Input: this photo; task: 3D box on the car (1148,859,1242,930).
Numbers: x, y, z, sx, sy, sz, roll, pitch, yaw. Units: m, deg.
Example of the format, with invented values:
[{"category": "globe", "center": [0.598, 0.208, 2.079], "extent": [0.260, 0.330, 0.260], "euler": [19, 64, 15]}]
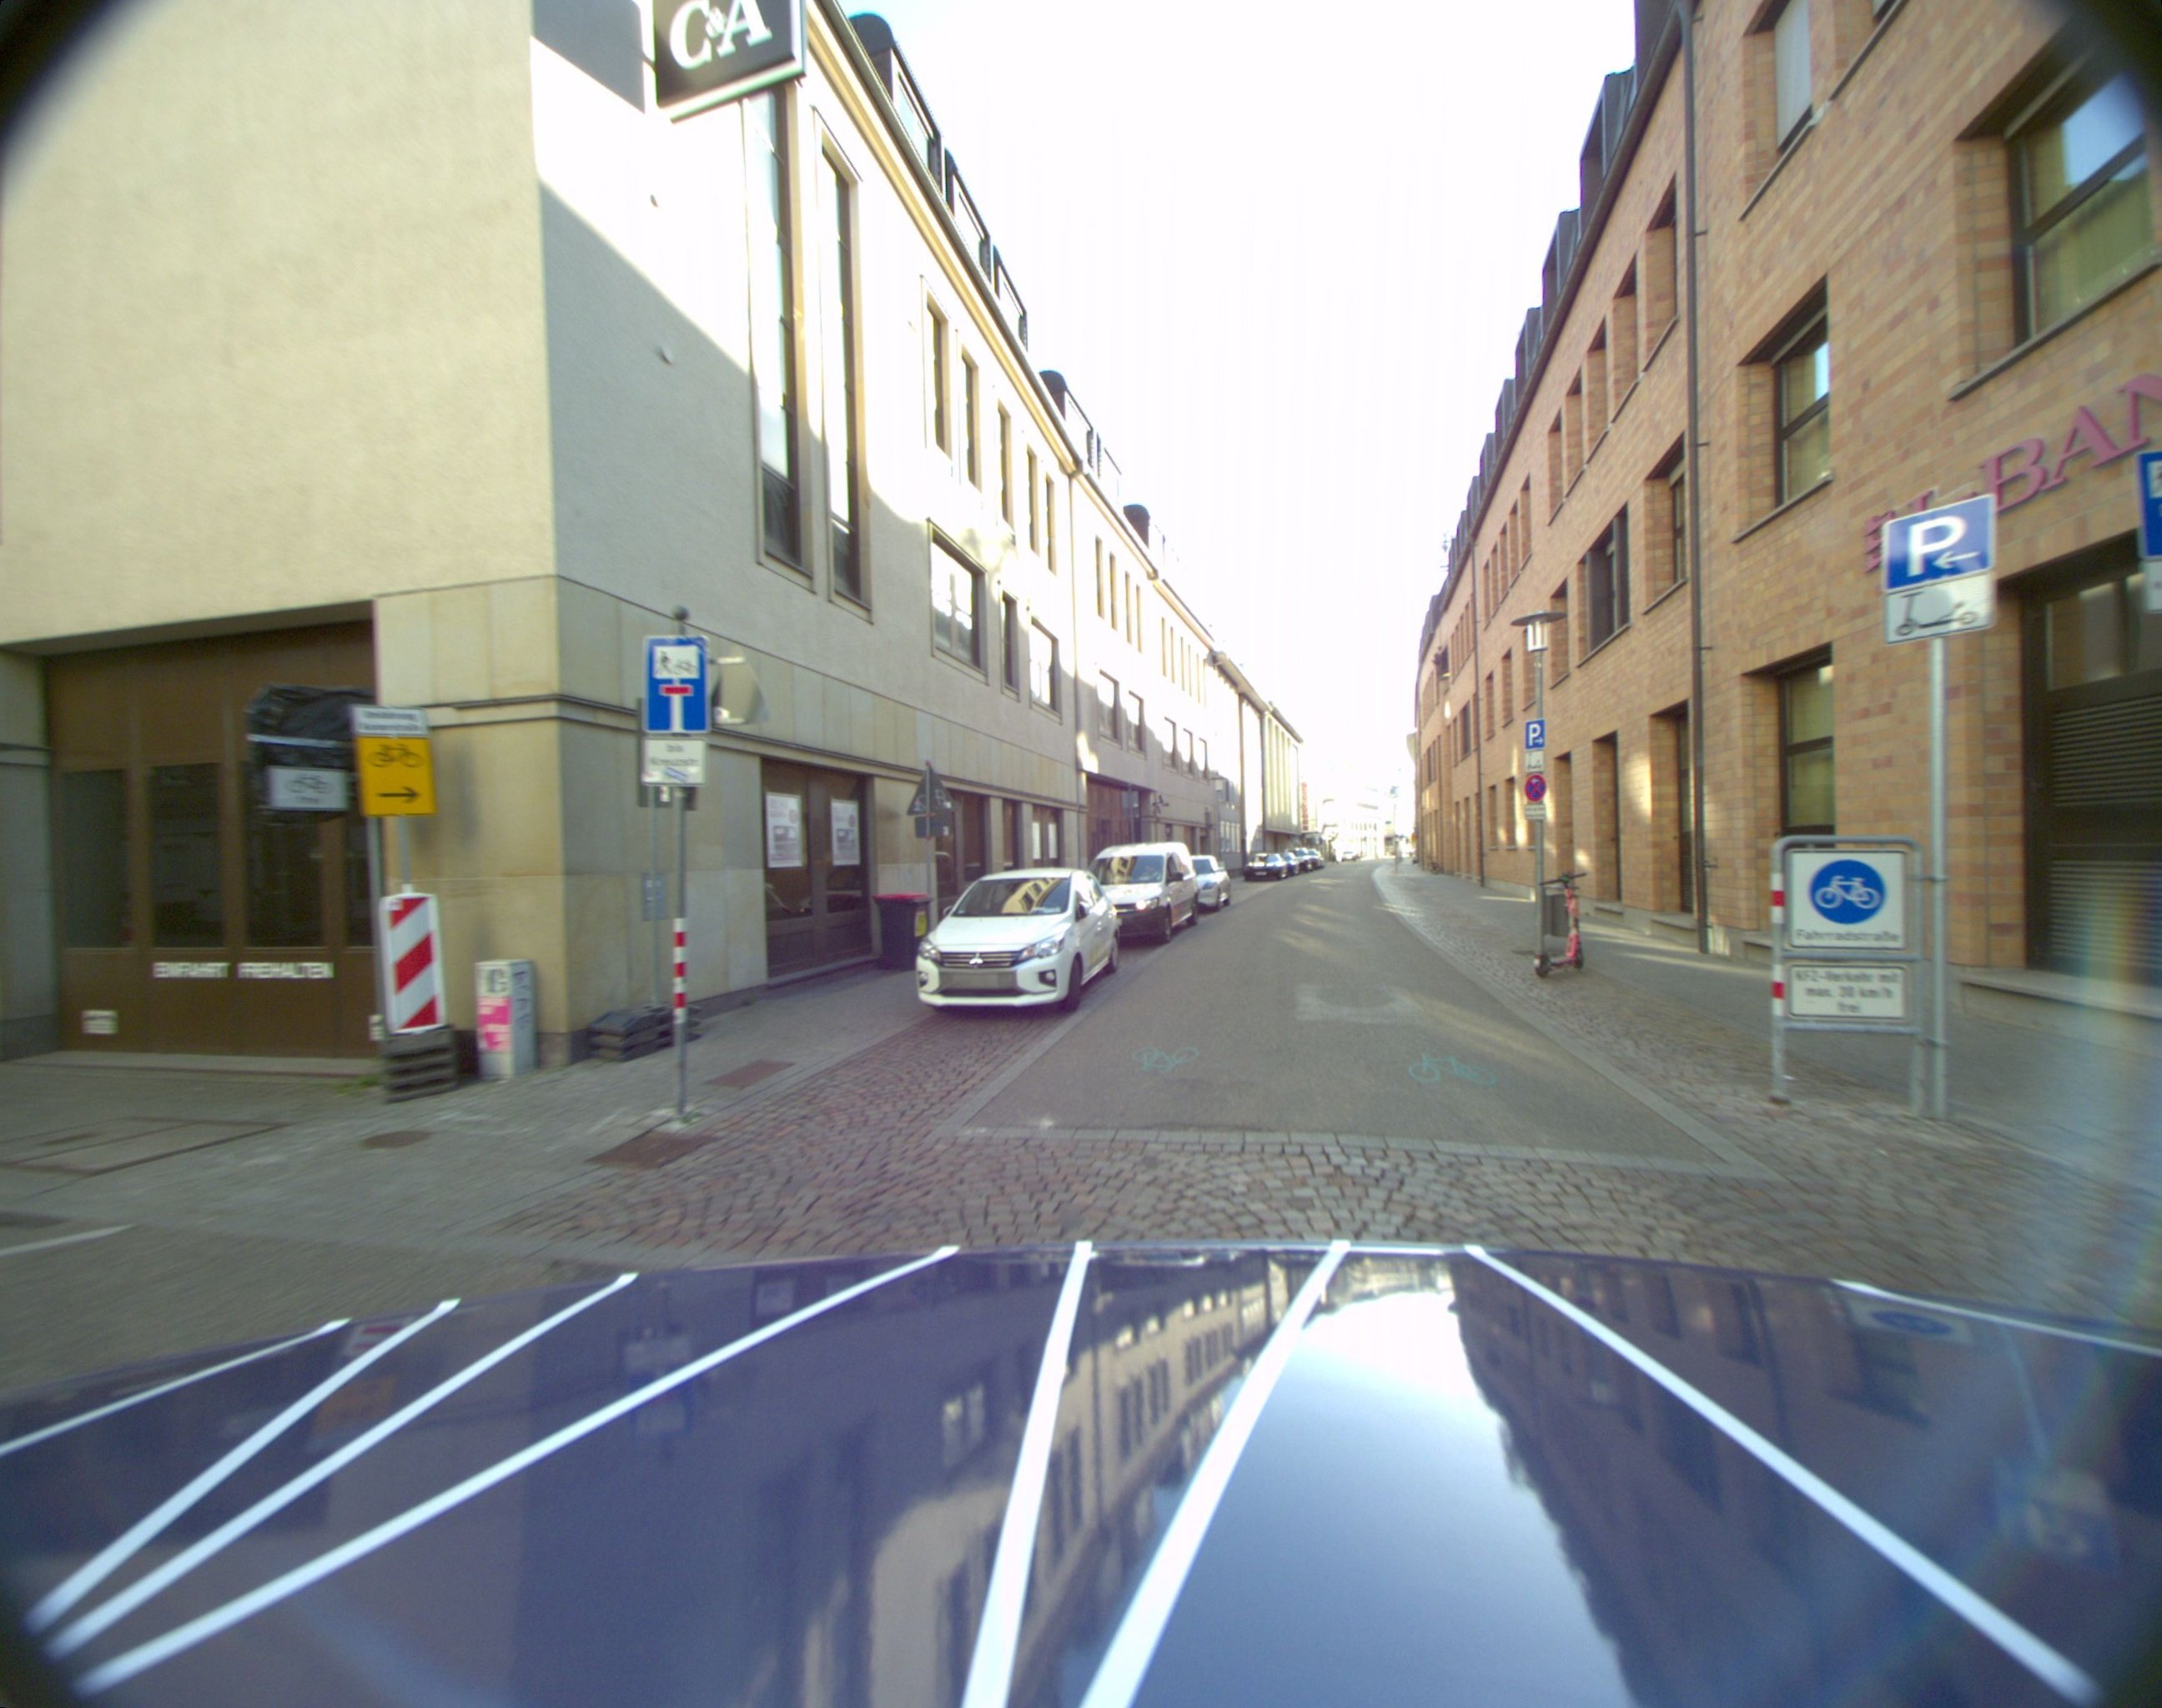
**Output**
[{"category": "car", "center": [3.222, 1.034, 20.856], "extent": [1.774, 1.574, 3.861], "euler": [-6, -1, 18]}]

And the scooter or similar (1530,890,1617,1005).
[{"category": "scooter or similar", "center": [5.819, 1.059, 8.952], "extent": [1.302, 1.217, 0.467], "euler": [0, 0, -38]}]

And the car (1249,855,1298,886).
[{"category": "car", "center": [10.256, 0.853, 40.317], "extent": [1.962, 1.399, 4.202], "euler": [-3, 0, 21]}]

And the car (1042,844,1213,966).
[{"category": "car", "center": [1.159, 0.838, 14.951], "extent": [1.945, 1.850, 5.201], "euler": [-6, -1, 18]}]

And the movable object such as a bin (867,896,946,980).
[{"category": "movable object such as a bin", "center": [-2.462, 1.169, 10.794], "extent": [0.687, 1.079, 0.930], "euler": [-3, 0, 14]}]

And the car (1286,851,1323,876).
[{"category": "car", "center": [15.284, 0.606, 51.856], "extent": [1.962, 1.527, 4.202], "euler": [-3, 0, 21]}]

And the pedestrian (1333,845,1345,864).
[{"category": "pedestrian", "center": [27.648, 0.085, 81.413], "extent": [0.944, 2.002, 0.900], "euler": [-2, 0, 1]}]

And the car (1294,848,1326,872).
[{"category": "car", "center": [17.737, 0.460, 58.798], "extent": [1.962, 1.636, 4.202], "euler": [-3, 0, 21]}]

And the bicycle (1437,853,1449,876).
[{"category": "bicycle", "center": [18.885, 0.536, 39.656], "extent": [0.431, 1.137, 1.692], "euler": [-2, 0, 23]}]

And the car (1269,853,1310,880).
[{"category": "car", "center": [12.750, 0.751, 46.312], "extent": [1.962, 1.399, 4.202], "euler": [-3, 0, 21]}]

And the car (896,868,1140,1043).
[{"category": "car", "center": [-0.472, 1.011, 9.146], "extent": [1.733, 1.539, 4.004], "euler": [-3, -1, 13]}]
